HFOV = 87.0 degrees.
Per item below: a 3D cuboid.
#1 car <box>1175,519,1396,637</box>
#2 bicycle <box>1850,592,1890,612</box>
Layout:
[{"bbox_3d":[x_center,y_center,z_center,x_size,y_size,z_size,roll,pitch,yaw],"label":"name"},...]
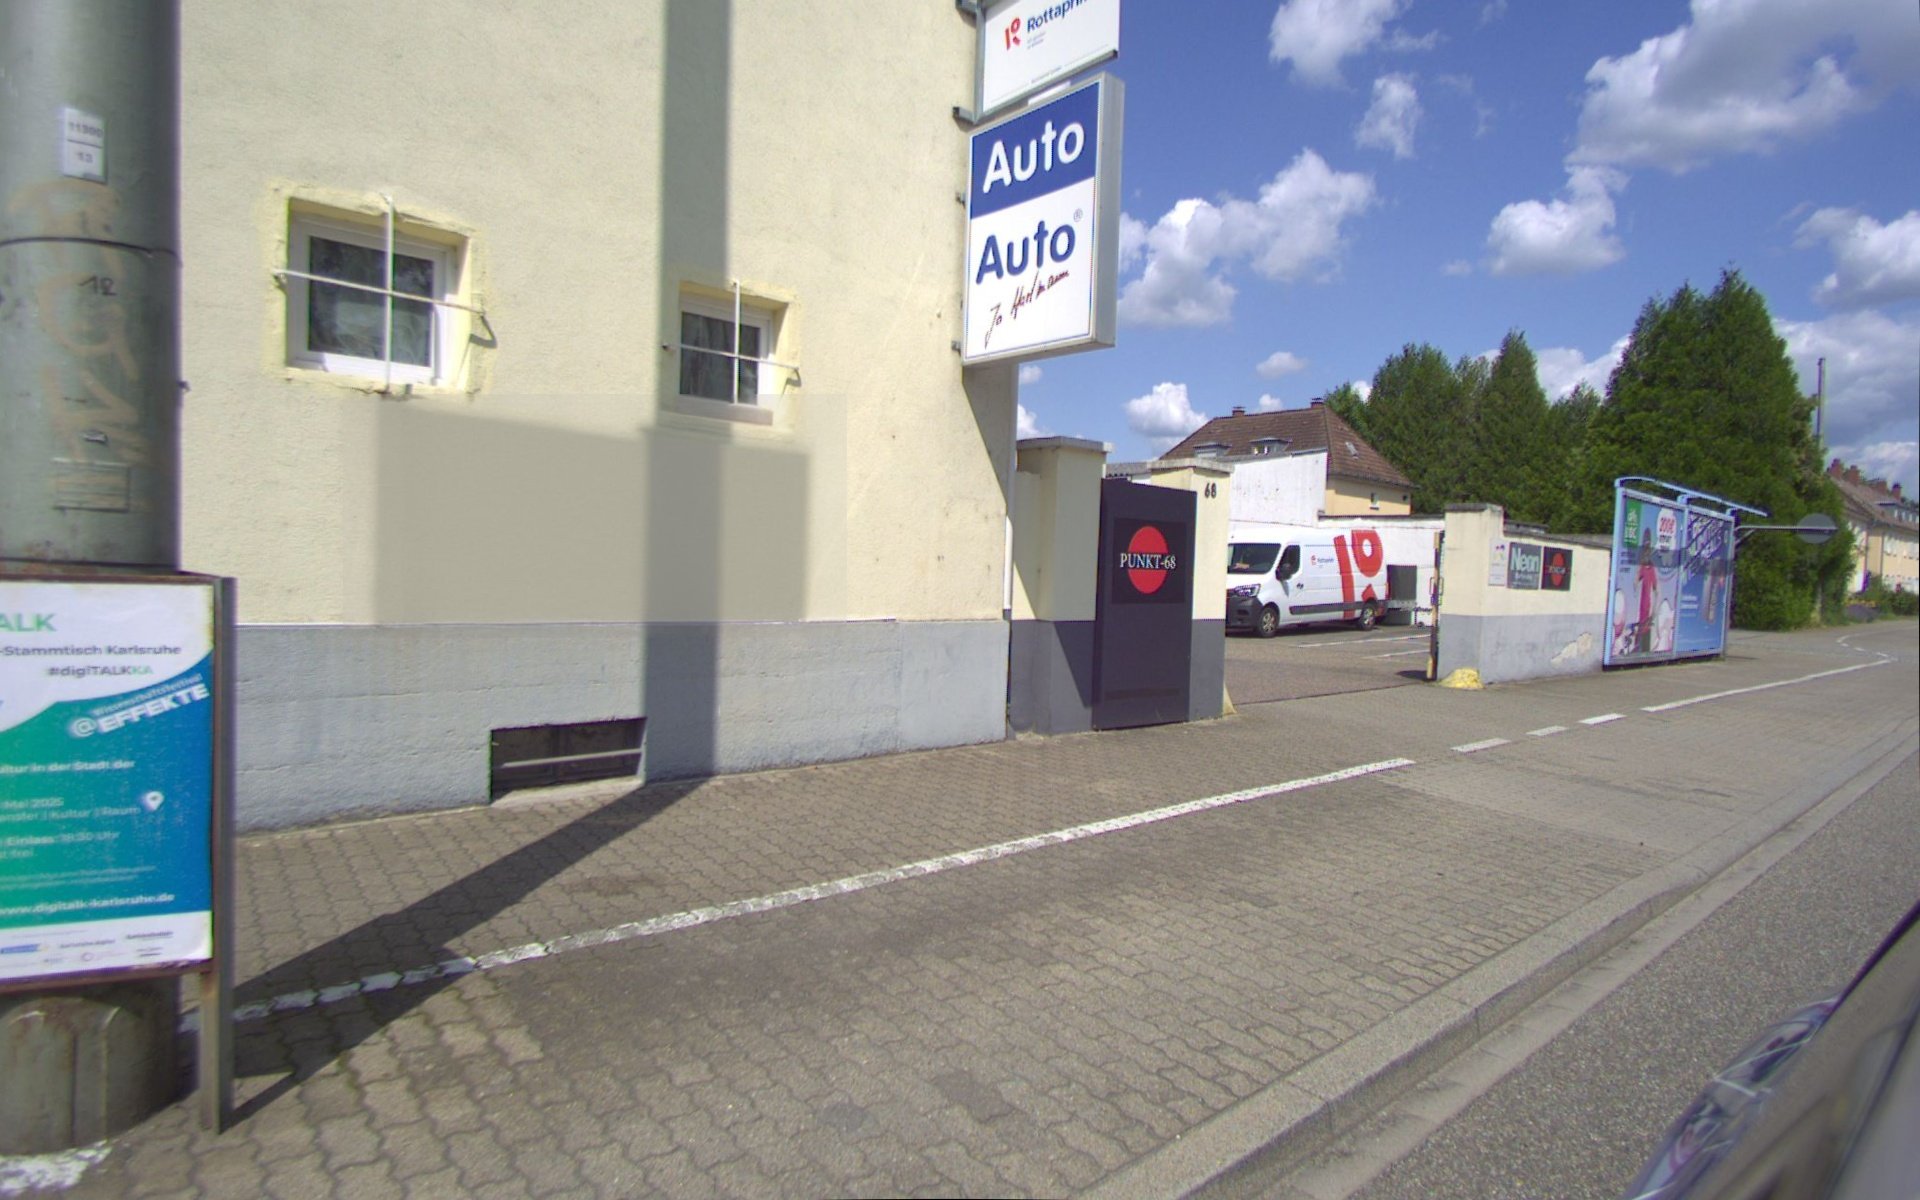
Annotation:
[{"bbox_3d":[7.800,-0.611,23.886,6.064,2.473,1.999,-3,4,-39],"label":"car"},{"bbox_3d":[52.525,0.102,58.428,0.285,1.116,1.693,1,2,-40],"label":"bicycle"}]
